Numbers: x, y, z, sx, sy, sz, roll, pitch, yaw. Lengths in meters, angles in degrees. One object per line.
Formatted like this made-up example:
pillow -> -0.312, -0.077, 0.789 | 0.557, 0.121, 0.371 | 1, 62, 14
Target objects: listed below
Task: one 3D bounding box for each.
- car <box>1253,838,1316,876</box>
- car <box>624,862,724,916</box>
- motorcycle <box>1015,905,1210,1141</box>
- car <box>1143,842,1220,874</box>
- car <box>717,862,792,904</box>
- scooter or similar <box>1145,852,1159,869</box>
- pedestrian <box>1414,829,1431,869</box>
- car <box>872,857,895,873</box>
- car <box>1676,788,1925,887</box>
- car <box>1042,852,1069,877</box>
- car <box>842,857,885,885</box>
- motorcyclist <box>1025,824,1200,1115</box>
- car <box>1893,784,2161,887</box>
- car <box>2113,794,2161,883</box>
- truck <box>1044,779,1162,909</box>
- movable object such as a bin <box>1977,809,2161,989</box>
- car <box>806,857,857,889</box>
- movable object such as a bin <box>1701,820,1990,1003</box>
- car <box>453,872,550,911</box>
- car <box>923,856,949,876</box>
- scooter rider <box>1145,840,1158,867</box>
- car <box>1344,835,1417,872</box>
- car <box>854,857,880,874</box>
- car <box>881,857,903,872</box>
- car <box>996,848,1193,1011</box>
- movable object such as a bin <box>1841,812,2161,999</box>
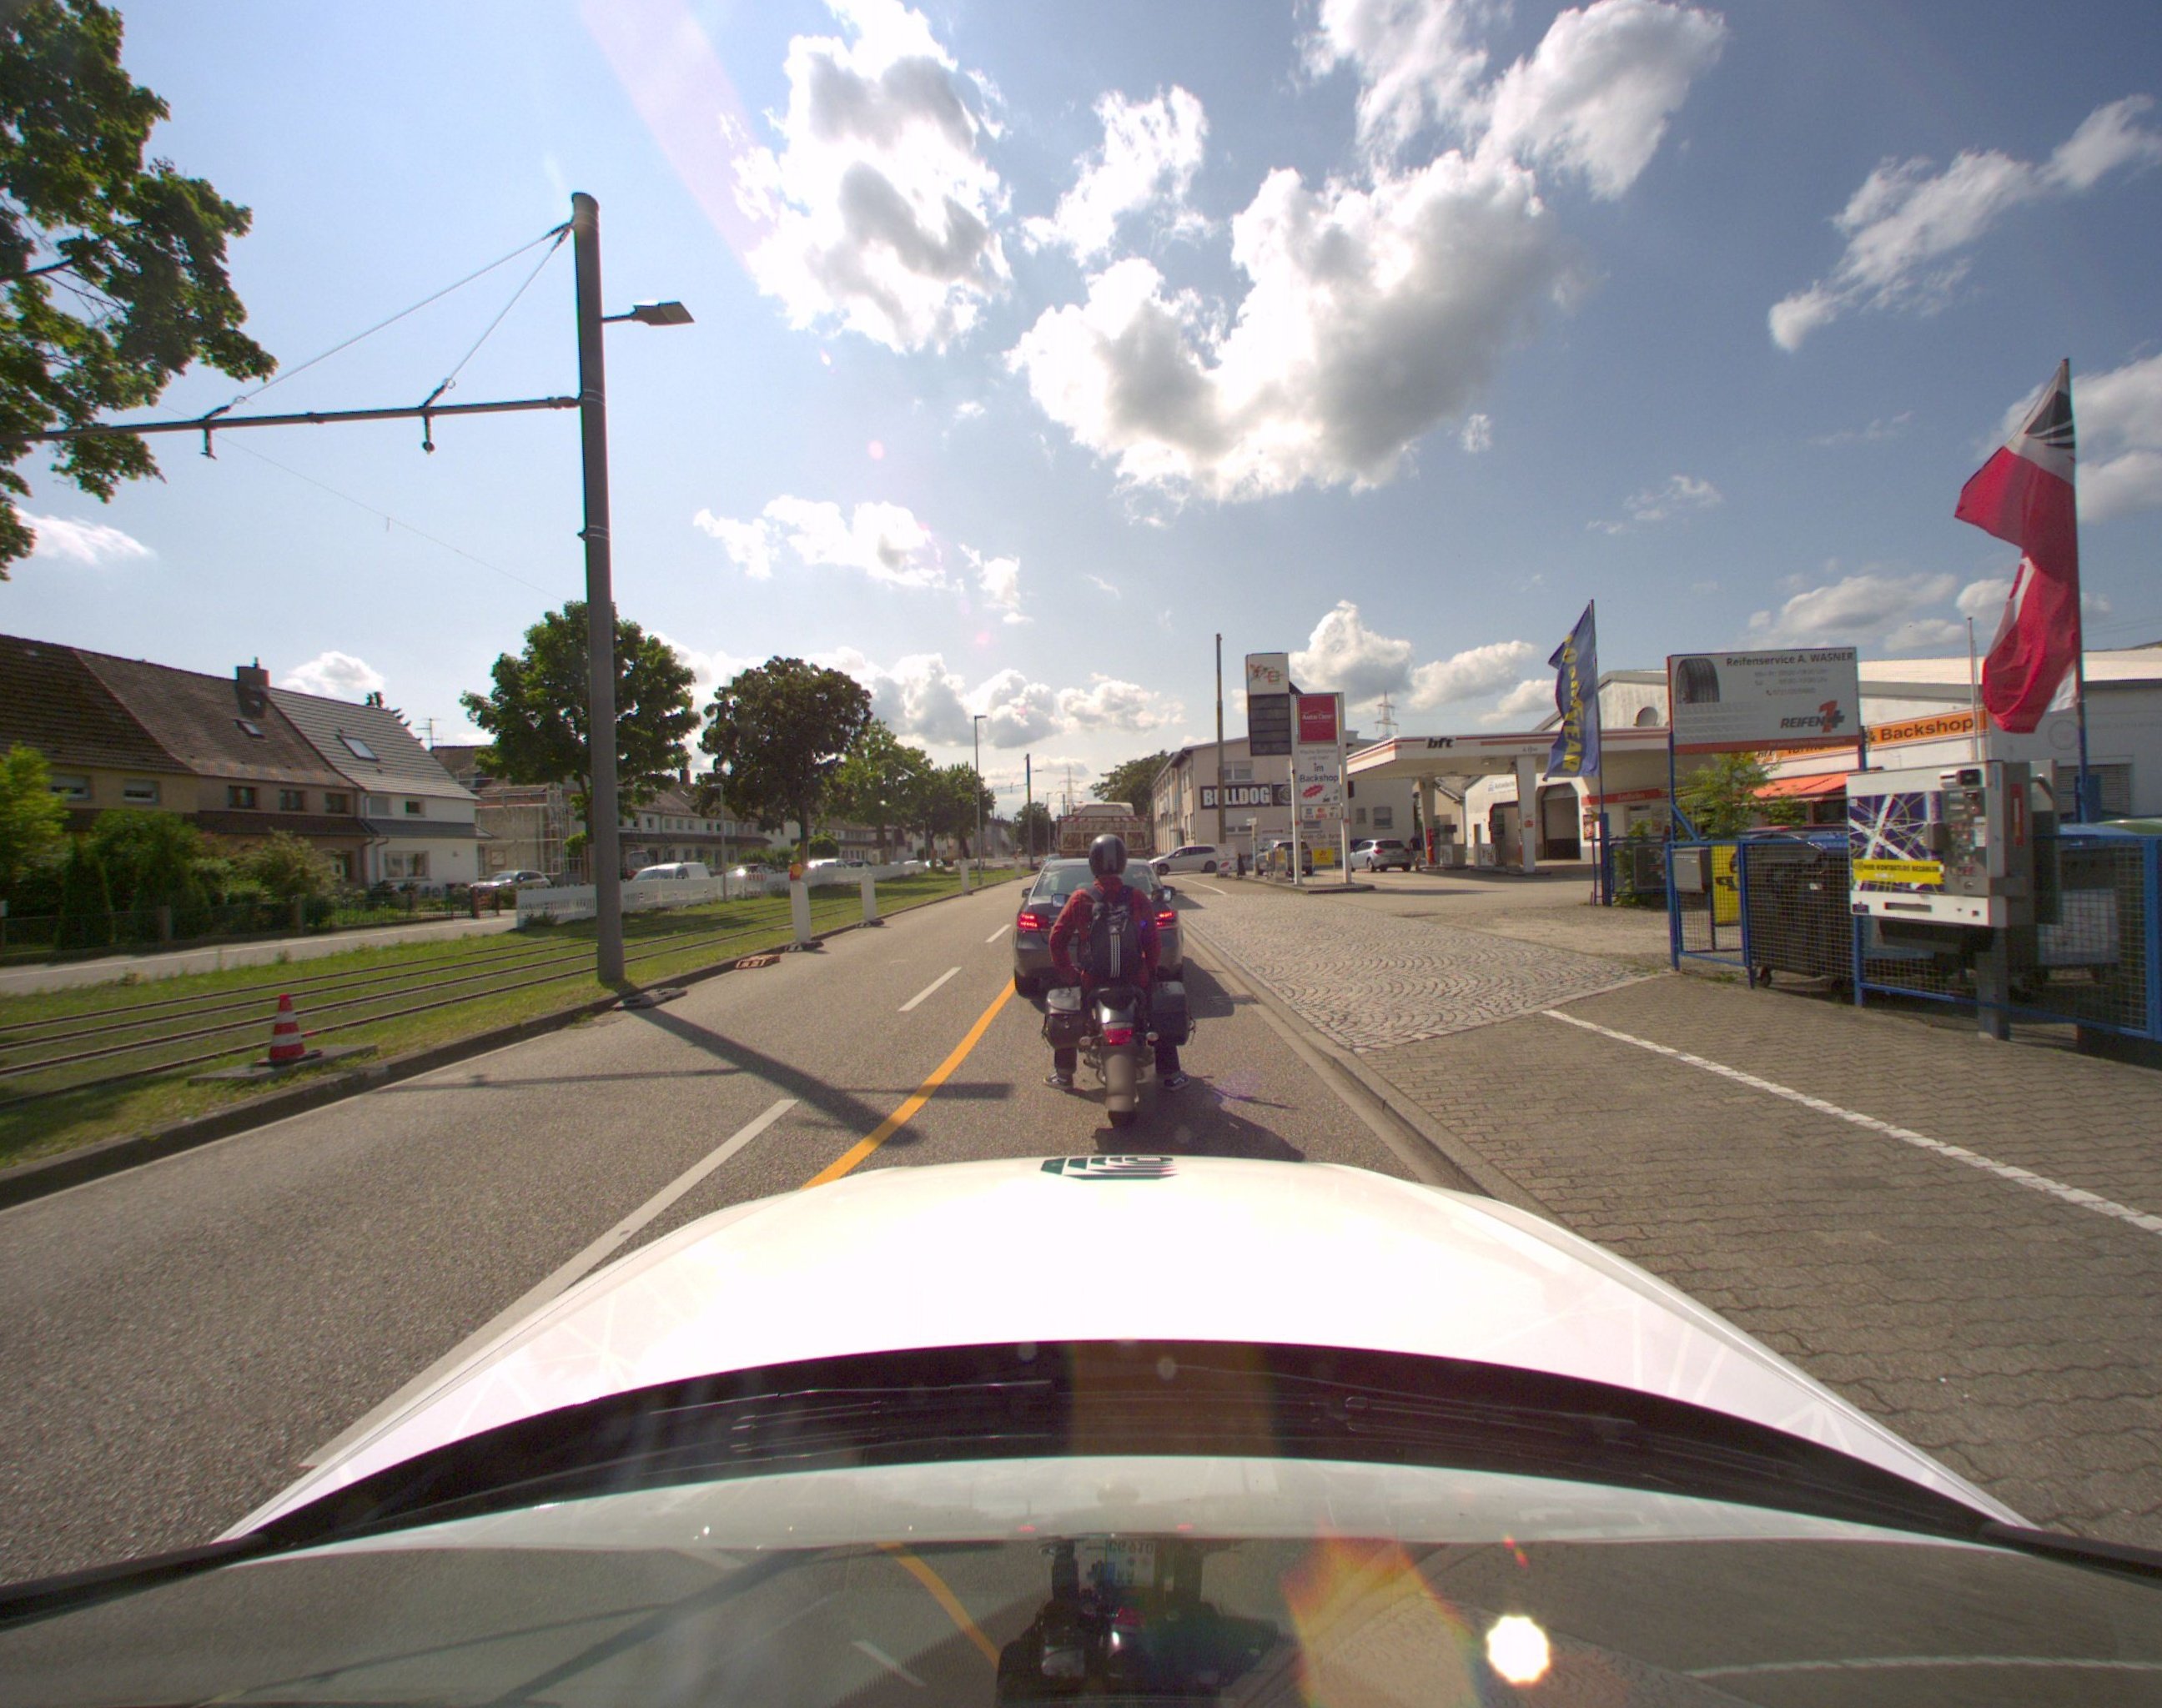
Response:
car -> 9.069, 0.121, 36.582 | 1.826, 1.536, 4.009 | -3, 0, 1
car -> -15.417, 1.276, 31.060 | 1.692, 1.817, 3.862 | -2, 0, 2
motorcycle -> 0.198, 0.930, 5.318 | 0.972, 1.013, 2.433 | -1, 0, 2
car -> 5.766, 0.226, 47.054 | 4.101, 1.624, 1.682 | -3, 0, -7
car -> -15.325, 1.323, 38.491 | 1.692, 1.739, 4.056 | -2, 0, 2
scooter or similar -> 4.930, 0.451, 56.694 | 0.792, 1.144, 1.520 | -2, 0, 2
pedestrian -> 14.843, -0.211, 35.394 | 0.628, 1.683, 0.626 | -2, 0, 23
car -> -24.052, 1.335, 99.345 | 1.692, 1.739, 4.064 | -2, 0, 2
car -> 16.604, -0.373, 18.968 | 3.972, 2.013, 2.001 | -2, 0, 1
car -> -1.839, 0.743, 59.500 | 1.674, 1.624, 4.120 | -2, 0, 1
car -> -14.868, 1.139, 55.762 | 1.692, 1.739, 3.862 | -2, 0, 2
motorcyclist -> 0.197, 0.652, 5.201 | 0.966, 1.633, 1.215 | -1, 0, 1
car -> 21.251, -0.402, 18.276 | 3.972, 2.013, 2.001 | -2, 0, 1
car -> 26.354, -0.435, 18.192 | 3.972, 2.013, 2.001 | -2, 0, 1
truck -> 0.643, -0.283, 25.609 | 2.960, 3.304, 8.407 | -2, 0, 1
movable object such as a bin -> 9.452, 0.333, 7.196 | 1.425, 1.454, 1.455 | -2, 0, 0
car -> -15.050, 1.108, 49.395 | 1.692, 1.739, 3.862 | -2, 0, 2
movable object such as a bin -> 6.827, 0.468, 7.410 | 1.222, 1.454, 1.455 | -2, 0, 0
car -> -27.478, 1.729, 38.796 | 1.692, 1.593, 3.862 | -2, 0, 2
car -> -14.161, 1.152, 79.647 | 1.692, 1.739, 3.862 | -2, 0, 2
scooter rider -> 4.905, -0.061, 56.643 | 0.792, 1.818, 0.508 | -2, 0, 1
car -> 13.539, -0.024, 37.075 | 1.826, 1.479, 4.009 | -3, 0, 1
car -> -24.467, 1.301, 93.142 | 1.692, 1.739, 4.064 | -2, 0, 2
car -> -24.381, 1.343, 105.368 | 1.692, 1.739, 4.064 | -2, 0, 2
car -> 0.161, 0.718, 9.839 | 1.826, 1.479, 4.009 | -3, 0, 1
movable object such as a bin -> 8.106, 0.414, 7.286 | 1.222, 1.454, 1.455 | -2, 0, 0
